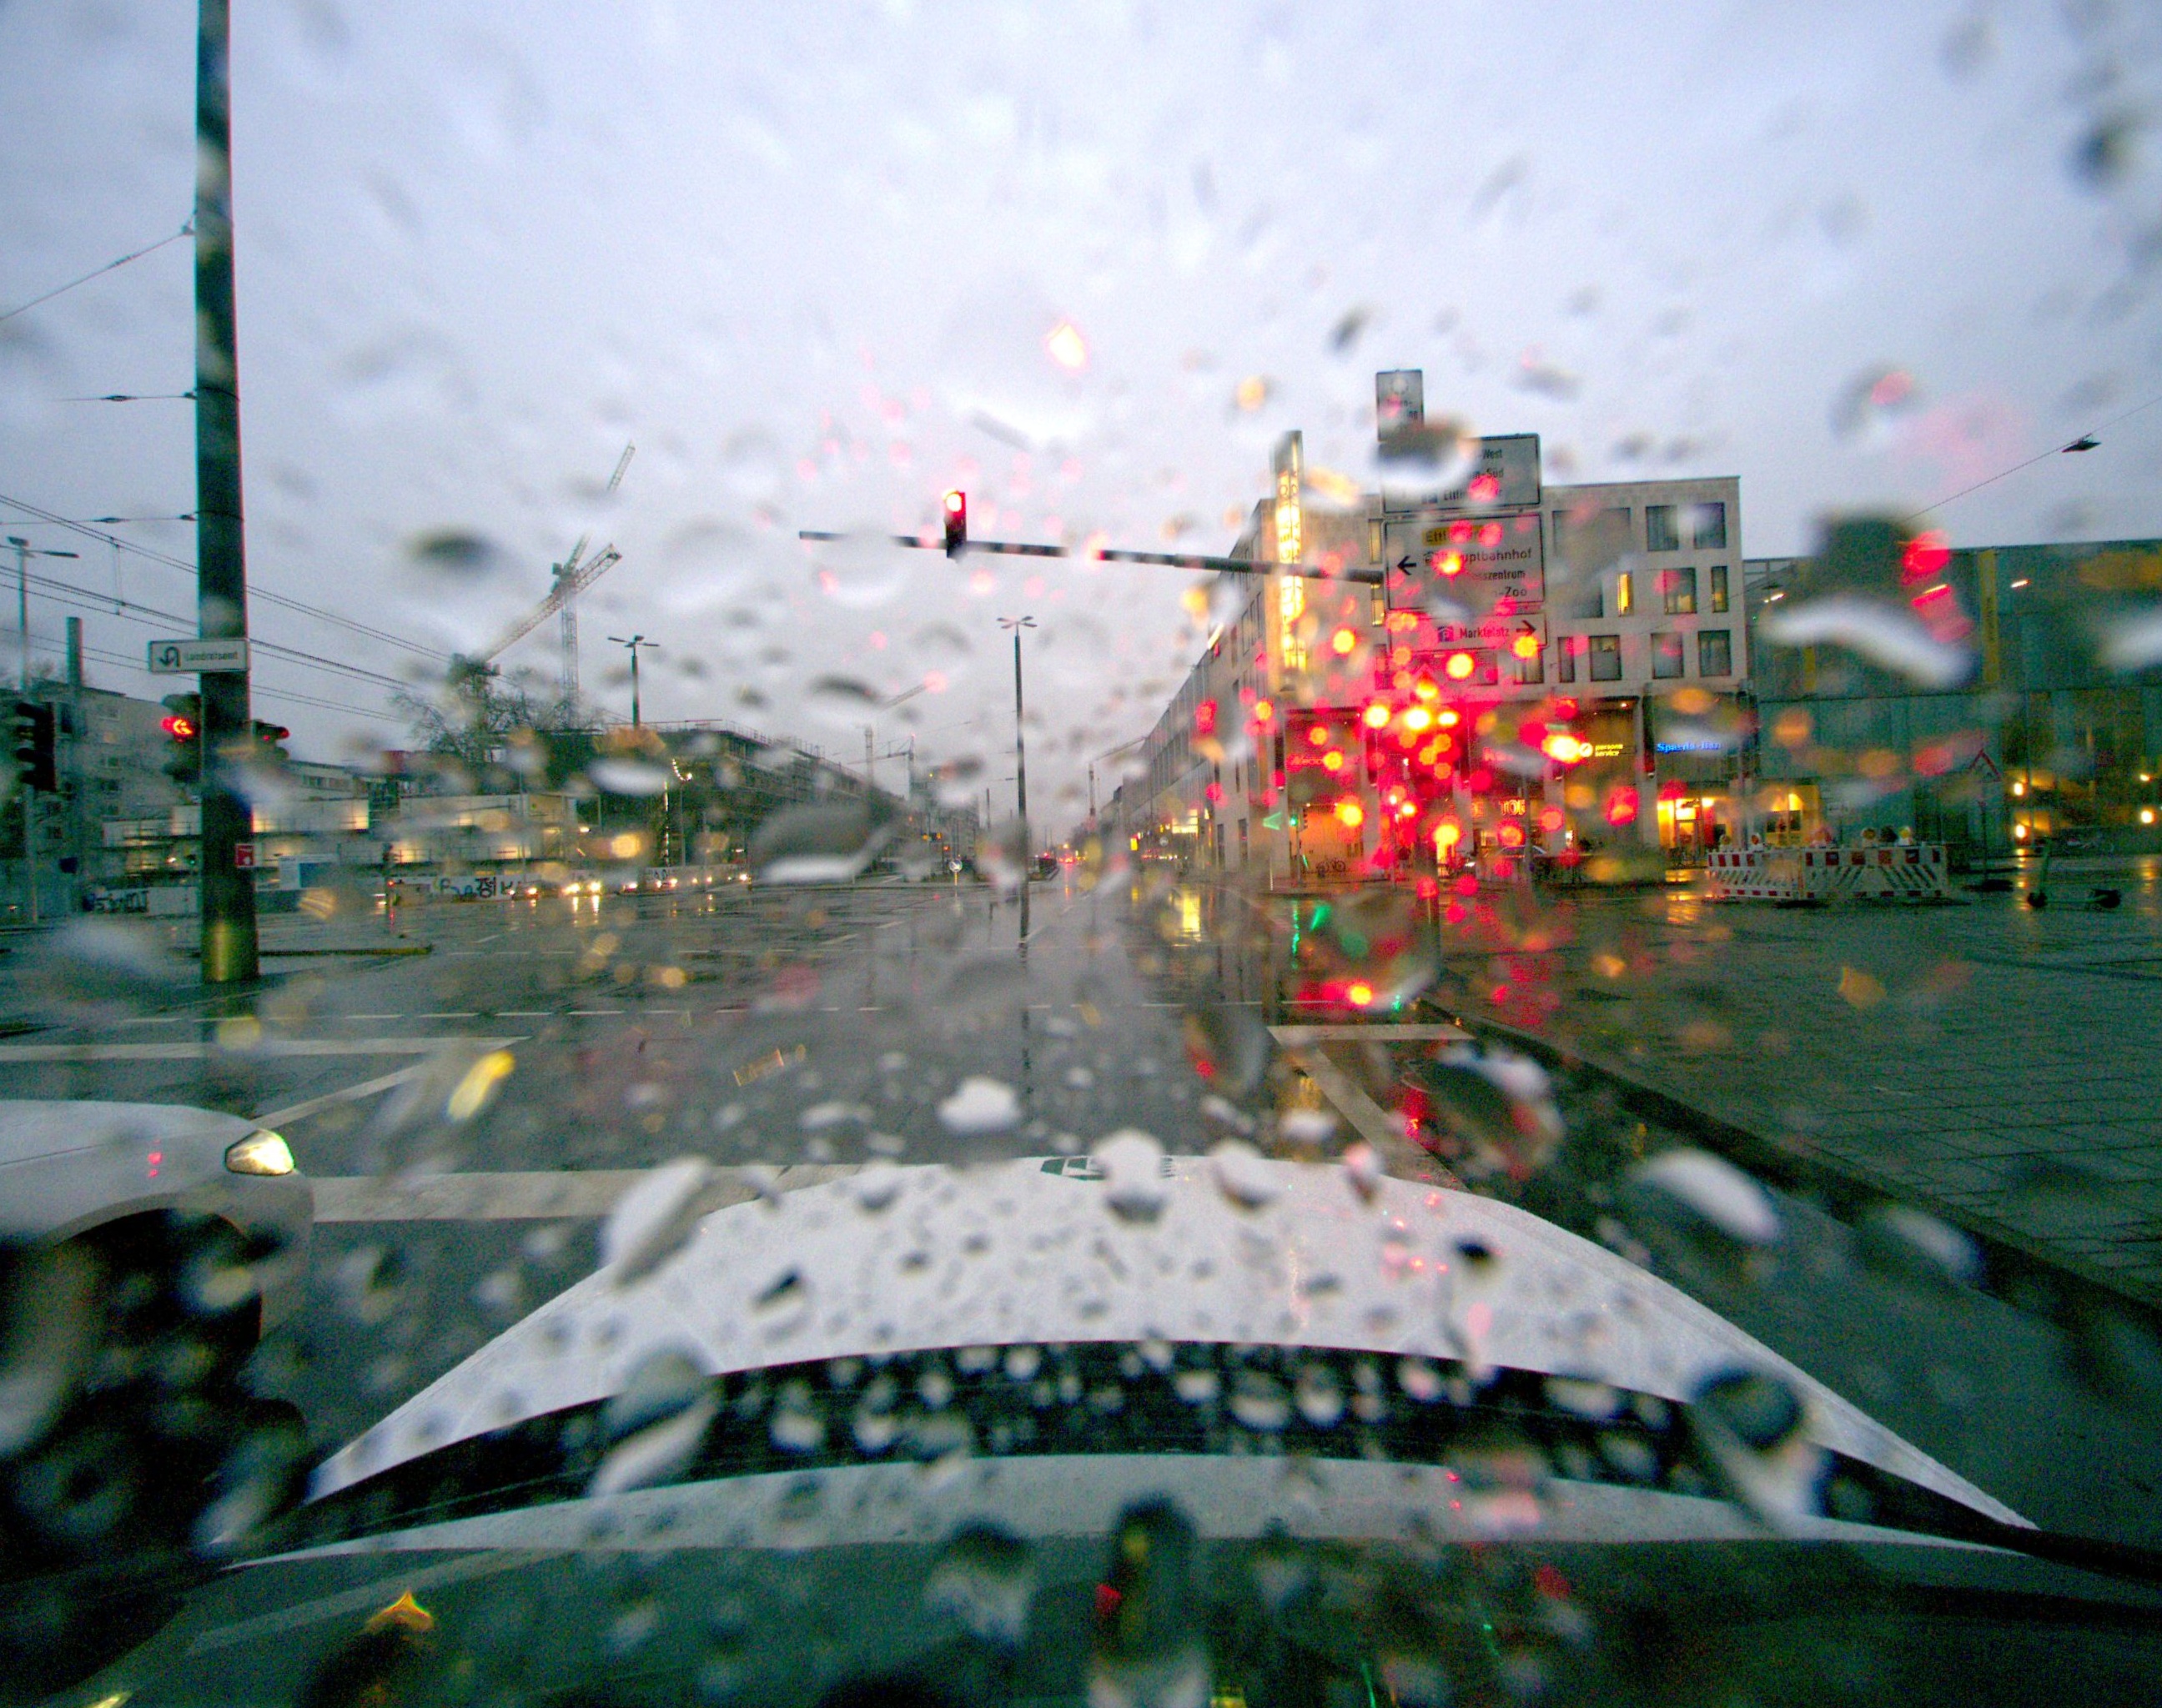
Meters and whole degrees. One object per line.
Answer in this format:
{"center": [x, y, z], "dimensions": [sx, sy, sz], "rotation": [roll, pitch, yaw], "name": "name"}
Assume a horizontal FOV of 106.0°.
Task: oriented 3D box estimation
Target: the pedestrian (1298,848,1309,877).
{"center": [13.618, 0.505, 49.909], "dimensions": [0.596, 1.745, 0.526], "rotation": [-1, -1, 10], "name": "pedestrian"}

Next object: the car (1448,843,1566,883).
{"center": [17.979, 0.365, 34.541], "dimensions": [3.970, 1.618, 2.001], "rotation": [0, -1, 3], "name": "car"}

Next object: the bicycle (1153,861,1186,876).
{"center": [6.781, 1.120, 62.445], "dimensions": [2.417, 1.099, 0.712], "rotation": [-2, -1, 0], "name": "bicycle"}

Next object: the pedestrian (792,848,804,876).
{"center": [-24.146, 0.697, 69.535], "dimensions": [0.762, 2.323, 0.763], "rotation": [0, -2, 1], "name": "pedestrian"}

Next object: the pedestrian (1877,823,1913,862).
{"center": [34.941, -0.485, 34.961], "dimensions": [0.737, 1.684, 0.783], "rotation": [0, -1, 8], "name": "pedestrian"}

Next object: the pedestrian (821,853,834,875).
{"center": [-23.837, 0.927, 76.638], "dimensions": [0.939, 2.014, 1.093], "rotation": [0, -1, -2], "name": "pedestrian"}

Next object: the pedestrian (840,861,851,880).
{"center": [-23.131, 1.627, 80.021], "dimensions": [0.762, 1.898, 0.763], "rotation": [0, -2, 1], "name": "pedestrian"}

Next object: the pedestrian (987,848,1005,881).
{"center": [-4.891, 0.596, 46.785], "dimensions": [0.826, 1.831, 0.778], "rotation": [0, -1, -29], "name": "pedestrian"}

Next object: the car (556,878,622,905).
{"center": [-33.771, 2.565, 56.059], "dimensions": [1.986, 1.657, 4.001], "rotation": [-2, 0, 2], "name": "car"}

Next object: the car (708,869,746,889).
{"center": [-34.899, 2.444, 80.368], "dimensions": [1.987, 1.790, 4.000], "rotation": [0, -1, 1], "name": "car"}

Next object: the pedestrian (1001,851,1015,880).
{"center": [-4.310, 0.683, 48.240], "dimensions": [0.605, 1.686, 0.581], "rotation": [-1, -1, 44], "name": "pedestrian"}

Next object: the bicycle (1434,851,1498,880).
{"center": [19.247, 0.577, 40.769], "dimensions": [2.705, 1.359, 0.957], "rotation": [-2, -1, -2], "name": "bicycle"}

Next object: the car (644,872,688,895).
{"center": [-34.809, 2.442, 68.399], "dimensions": [1.862, 1.828, 3.993], "rotation": [0, -1, -5], "name": "car"}

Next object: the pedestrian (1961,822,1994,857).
{"center": [43.974, -0.697, 39.960], "dimensions": [0.737, 1.684, 0.783], "rotation": [0, -1, 8], "name": "pedestrian"}

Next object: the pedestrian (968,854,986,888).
{"center": [-6.080, 0.986, 47.660], "dimensions": [0.776, 2.014, 0.732], "rotation": [-1, -1, 44], "name": "pedestrian"}

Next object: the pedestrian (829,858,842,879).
{"center": [-23.817, 1.395, 78.915], "dimensions": [0.939, 2.014, 1.093], "rotation": [0, -1, -1], "name": "pedestrian"}

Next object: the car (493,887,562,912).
{"center": [-38.536, 3.144, 56.840], "dimensions": [1.986, 1.530, 4.001], "rotation": [-2, 0, 2], "name": "car"}

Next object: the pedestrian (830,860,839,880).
{"center": [-23.487, 1.542, 77.708], "dimensions": [0.696, 1.881, 0.553], "rotation": [0, -1, 1], "name": "pedestrian"}

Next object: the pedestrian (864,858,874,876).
{"center": [-23.995, 1.503, 92.057], "dimensions": [0.941, 2.014, 1.091], "rotation": [0, -1, -6], "name": "pedestrian"}

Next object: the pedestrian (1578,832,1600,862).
{"center": [29.368, -0.406, 47.078], "dimensions": [0.890, 1.684, 0.528], "rotation": [-2, -1, 1], "name": "pedestrian"}

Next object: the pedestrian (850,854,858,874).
{"center": [-22.735, 1.013, 81.516], "dimensions": [0.569, 1.968, 0.664], "rotation": [1, -1, -4], "name": "pedestrian"}

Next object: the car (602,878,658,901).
{"center": [-34.281, 2.640, 62.062], "dimensions": [2.074, 1.530, 4.603], "rotation": [-2, 0, -7], "name": "car"}

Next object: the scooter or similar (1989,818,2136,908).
{"center": [15.694, 0.129, 13.076], "dimensions": [0.590, 1.352, 1.495], "rotation": [0, 0, 2], "name": "scooter or similar"}

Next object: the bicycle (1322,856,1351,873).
{"center": [15.862, 0.651, 50.585], "dimensions": [1.642, 1.070, 0.524], "rotation": [0, -1, -2], "name": "bicycle"}

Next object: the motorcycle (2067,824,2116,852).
{"center": [48.260, -0.759, 38.905], "dimensions": [1.482, 1.352, 0.595], "rotation": [0, 0, 5], "name": "motorcycle"}

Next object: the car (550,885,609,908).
{"center": [-38.964, 3.294, 63.355], "dimensions": [1.986, 1.530, 4.001], "rotation": [-2, 0, 2], "name": "car"}

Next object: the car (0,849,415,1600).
{"center": [-3.194, 0.764, 0.317], "dimensions": [2.010, 1.487, 4.561], "rotation": [-2, 0, 1], "name": "car"}

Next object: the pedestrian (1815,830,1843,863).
{"center": [39.712, -0.393, 43.237], "dimensions": [0.737, 1.684, 0.783], "rotation": [0, -1, 8], "name": "pedestrian"}

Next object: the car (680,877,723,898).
{"center": [-34.829, 3.014, 74.805], "dimensions": [1.987, 1.790, 4.000], "rotation": [0, -1, 1], "name": "car"}

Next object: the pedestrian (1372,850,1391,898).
{"center": [15.661, 1.033, 42.502], "dimensions": [0.712, 2.441, 0.758], "rotation": [0, -1, 1], "name": "pedestrian"}

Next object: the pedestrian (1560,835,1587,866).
{"center": [27.395, -0.197, 45.325], "dimensions": [1.026, 1.684, 0.824], "rotation": [0, -1, 1], "name": "pedestrian"}

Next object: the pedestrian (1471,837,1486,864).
{"center": [25.534, -0.239, 52.336], "dimensions": [0.728, 1.718, 0.743], "rotation": [-3, -1, 29], "name": "pedestrian"}

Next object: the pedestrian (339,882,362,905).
{"center": [-43.601, 2.349, 48.626], "dimensions": [0.724, 1.388, 0.726], "rotation": [0, -1, 7], "name": "pedestrian"}

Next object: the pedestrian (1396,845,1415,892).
{"center": [17.196, 0.772, 43.220], "dimensions": [0.691, 2.448, 0.792], "rotation": [0, -1, 1], "name": "pedestrian"}

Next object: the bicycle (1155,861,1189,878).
{"center": [6.876, 1.153, 61.583], "dimensions": [2.434, 1.154, 0.674], "rotation": [-2, -1, 0], "name": "bicycle"}

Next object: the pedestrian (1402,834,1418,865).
{"center": [21.739, -0.271, 53.812], "dimensions": [0.841, 2.013, 0.700], "rotation": [-2, 0, 10], "name": "pedestrian"}

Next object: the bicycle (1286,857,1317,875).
{"center": [13.651, 0.735, 50.493], "dimensions": [1.765, 1.070, 0.523], "rotation": [0, -1, -7], "name": "bicycle"}

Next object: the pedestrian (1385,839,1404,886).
{"center": [16.403, 0.429, 42.615], "dimensions": [0.687, 2.441, 0.758], "rotation": [0, -1, 1], "name": "pedestrian"}

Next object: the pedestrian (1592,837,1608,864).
{"center": [28.952, -0.211, 45.437], "dimensions": [0.583, 1.494, 0.520], "rotation": [-1, -1, 4], "name": "pedestrian"}
